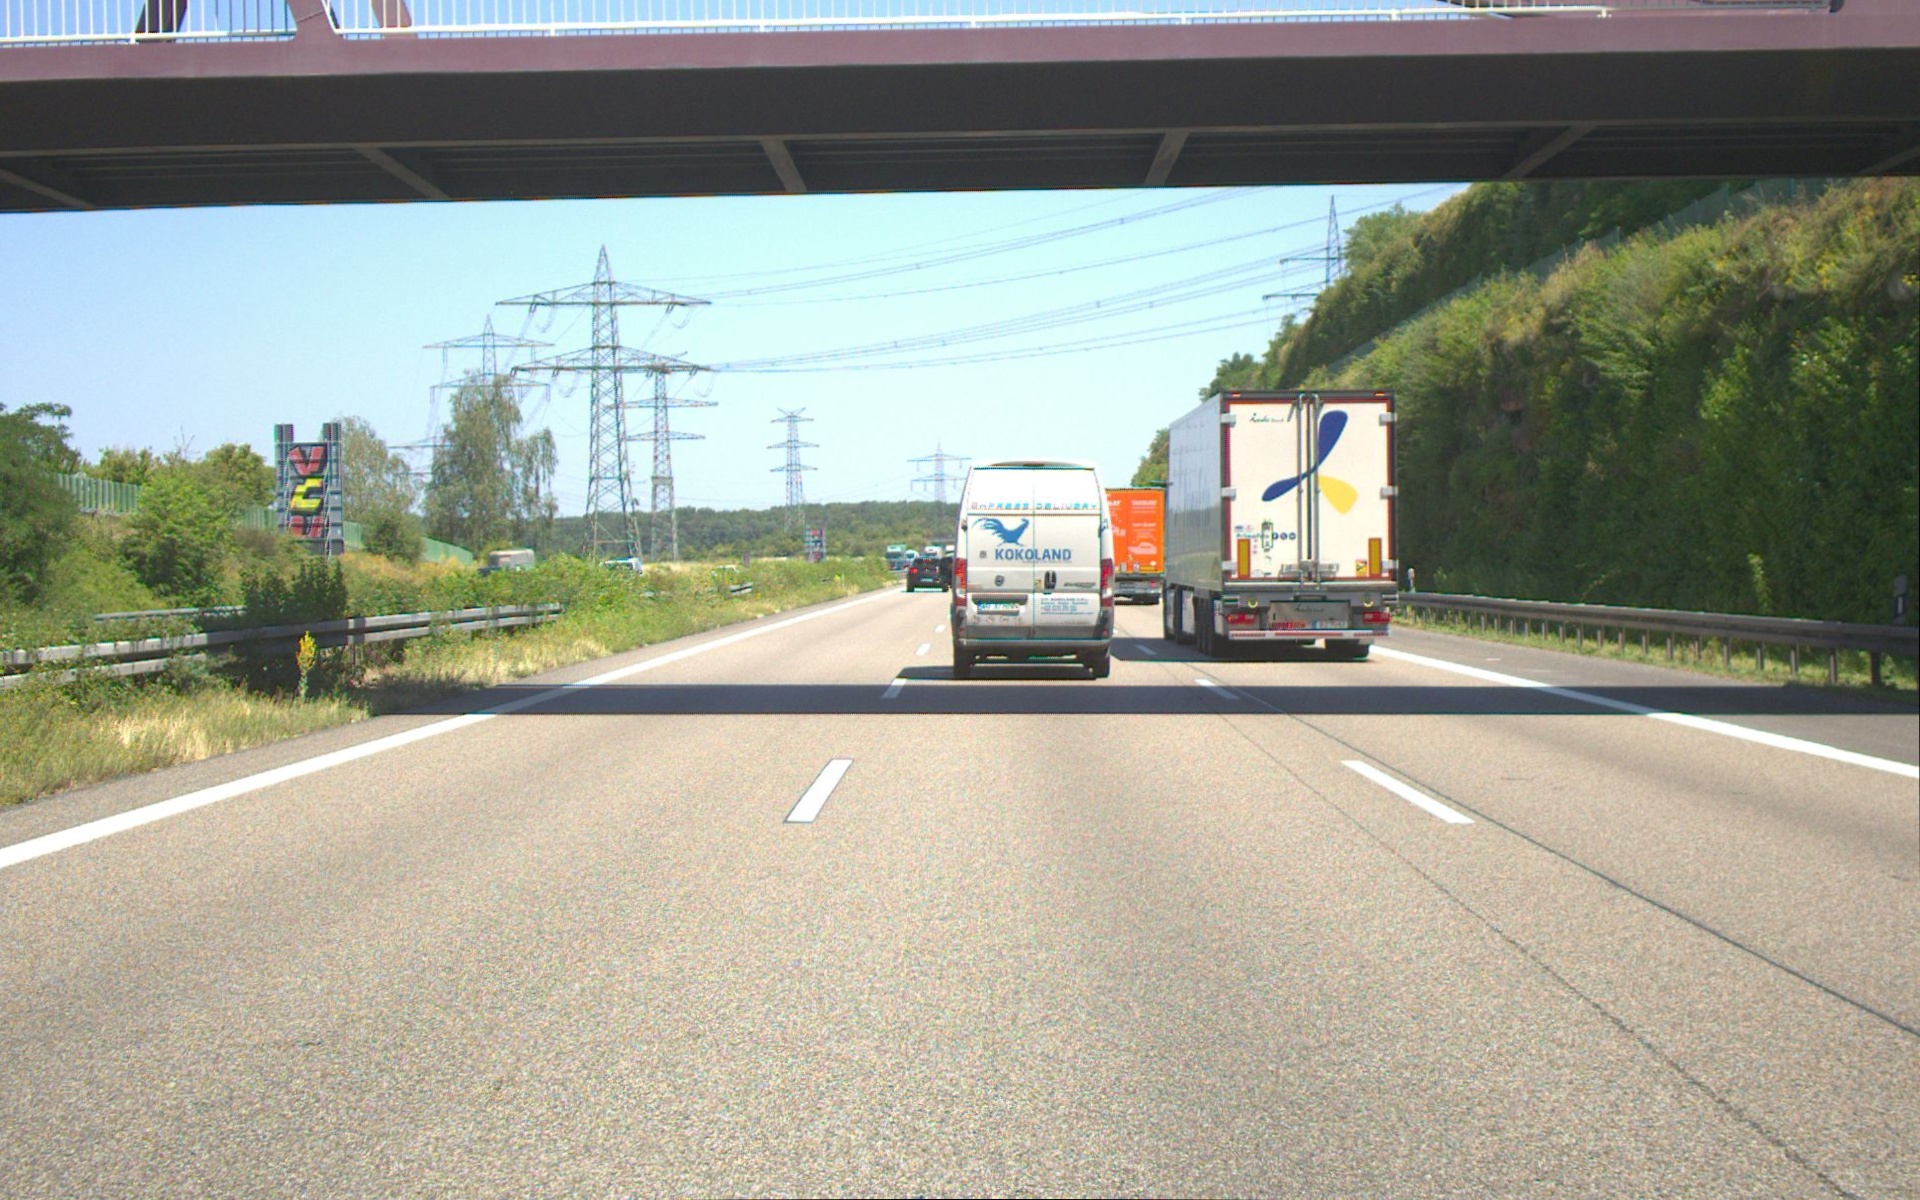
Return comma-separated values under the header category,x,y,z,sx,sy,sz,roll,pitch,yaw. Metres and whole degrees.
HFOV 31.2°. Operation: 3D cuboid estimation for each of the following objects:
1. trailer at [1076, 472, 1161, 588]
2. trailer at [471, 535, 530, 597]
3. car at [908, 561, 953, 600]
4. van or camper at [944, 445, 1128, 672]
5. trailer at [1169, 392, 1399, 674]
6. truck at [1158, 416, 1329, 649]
category,x,y,z,sx,sy,sz,roll,pitch,yaw
trailer,5.484,-2.422,120.058,2.637,3.883,7.069,1,1,1
trailer,-19.961,-1.487,149.390,1.800,2.609,4.407,1,1,2
car,-1.417,-0.978,166.609,1.982,1.811,3.812,1,1,2
van or camper,0.928,-0.558,45.360,2.230,2.772,5.423,1,1,0
trailer,5.093,-1.081,56.214,2.637,4.046,12.366,1,1,1
truck,5.151,-1.234,63.384,2.637,4.046,5.800,1,1,1
